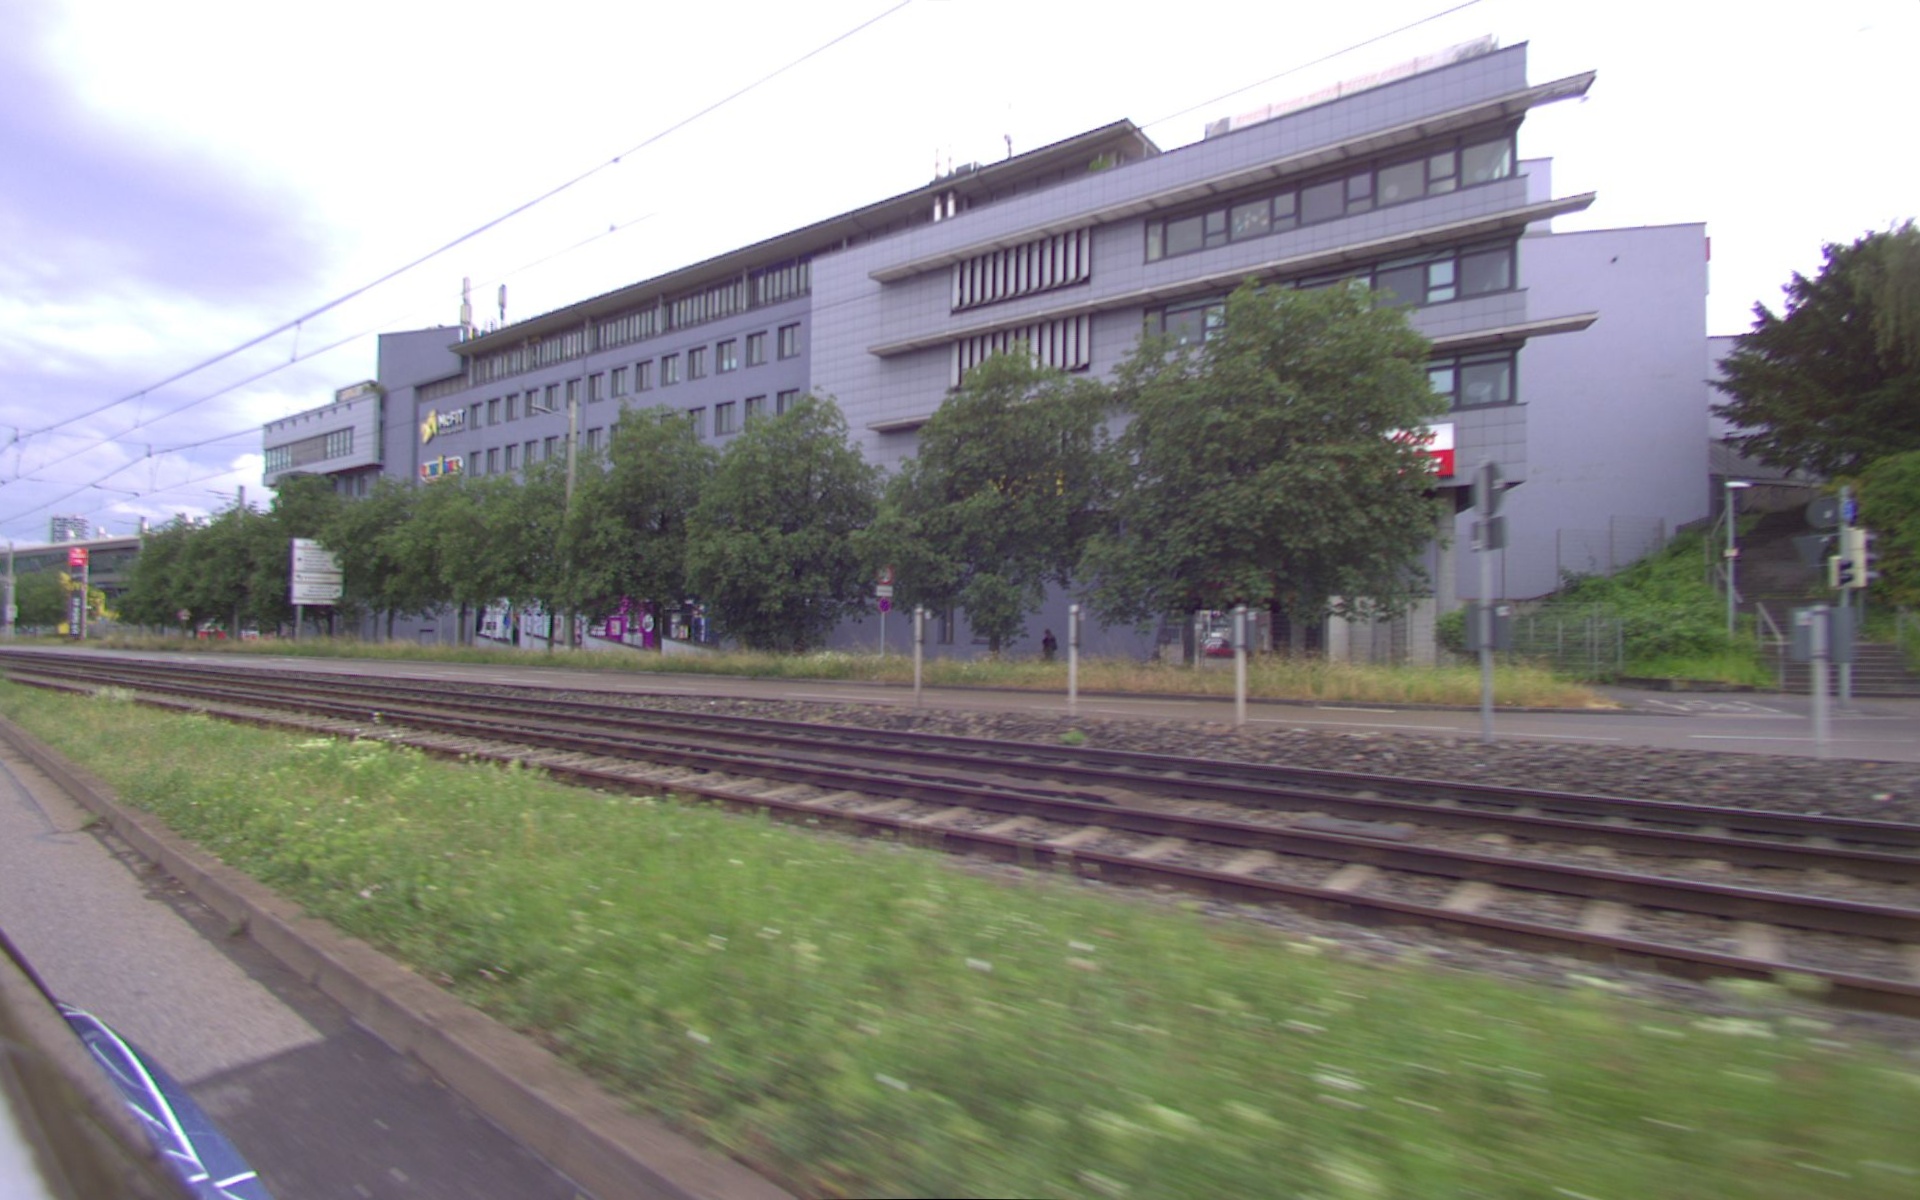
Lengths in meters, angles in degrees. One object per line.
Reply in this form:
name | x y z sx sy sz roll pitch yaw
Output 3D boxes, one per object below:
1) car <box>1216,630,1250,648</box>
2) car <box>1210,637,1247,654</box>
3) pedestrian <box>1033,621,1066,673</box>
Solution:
car | 33.423 4.744 123.809 3.965 2.014 1.989 -1 0 17
car | 30.095 5.048 113.439 3.965 1.786 1.813 -1 0 17
pedestrian | 3.184 1.660 36.106 0.877 1.768 0.717 -1 0 41
